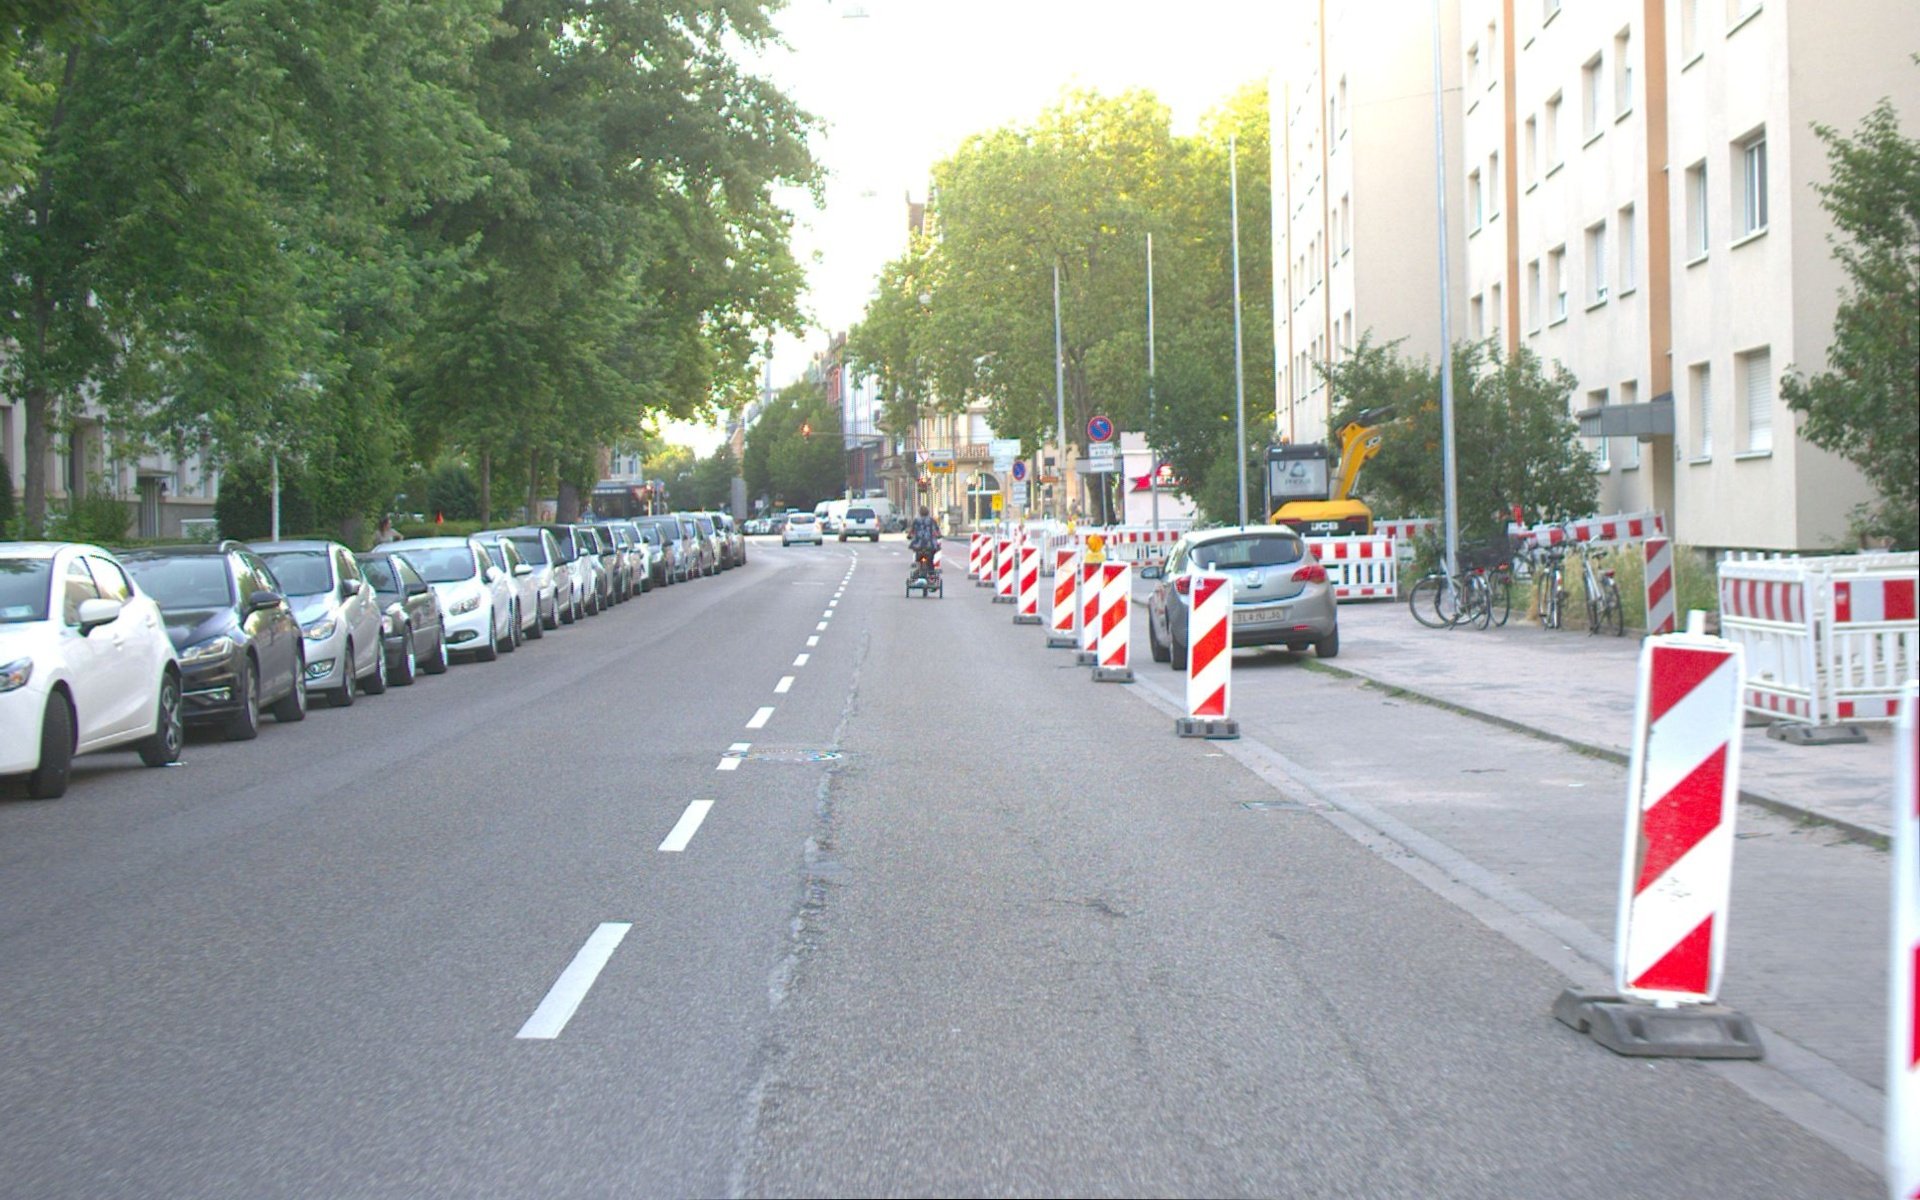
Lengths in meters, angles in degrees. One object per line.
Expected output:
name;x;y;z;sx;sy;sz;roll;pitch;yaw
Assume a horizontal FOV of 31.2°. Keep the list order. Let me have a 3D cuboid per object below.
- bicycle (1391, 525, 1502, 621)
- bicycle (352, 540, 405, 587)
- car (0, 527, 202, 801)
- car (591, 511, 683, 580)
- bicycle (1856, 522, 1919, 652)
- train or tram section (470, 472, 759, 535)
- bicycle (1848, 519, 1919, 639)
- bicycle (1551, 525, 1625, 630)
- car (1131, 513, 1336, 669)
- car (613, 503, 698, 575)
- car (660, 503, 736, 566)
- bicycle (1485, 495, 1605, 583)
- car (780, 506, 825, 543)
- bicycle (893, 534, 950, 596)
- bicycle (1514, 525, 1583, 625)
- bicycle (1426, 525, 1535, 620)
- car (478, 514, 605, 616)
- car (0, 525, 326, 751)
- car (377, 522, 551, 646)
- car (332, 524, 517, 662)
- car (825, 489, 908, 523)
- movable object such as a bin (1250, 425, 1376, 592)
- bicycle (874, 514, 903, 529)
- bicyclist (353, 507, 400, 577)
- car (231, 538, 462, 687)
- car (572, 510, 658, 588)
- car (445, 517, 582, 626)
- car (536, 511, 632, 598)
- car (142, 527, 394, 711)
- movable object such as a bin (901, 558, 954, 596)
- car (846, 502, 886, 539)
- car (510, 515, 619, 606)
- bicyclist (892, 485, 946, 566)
bicycle;6.052;-0.354;42.876;0.556;1.168;1.817;-1;1;-21
bicycle;-11.674;-0.734;69.054;0.808;0.908;1.762;0;1;-2
car;-5.965;0.363;20.861;1.752;1.474;3.944;-4;1;0
car;-7.419;-1.272;79.198;1.707;1.447;3.843;-4;1;-1
bicycle;8.397;-0.174;28.289;1.811;1.019;0.558;-6;1;0
train or tram section;-21.261;-5.931;211.558;17.020;3.612;5.041;0;1;17
bicycle;8.730;-0.245;30.029;1.753;0.983;0.557;-6;1;8
bicycle;7.169;-0.270;39.319;0.556;1.168;1.817;0;1;1
car;2.948;-0.147;37.950;1.776;1.485;4.574;-5;1;0
car;-7.377;-1.499;83.613;1.707;1.595;4.117;-4;1;-1
car;-7.670;-1.933;101.128;1.953;1.713;4.772;-3;2;-2
bicycle;8.248;-0.862;48.511;1.592;1.217;0.485;-1;1;-7
car;-7.168;-3.448;156.856;1.866;1.580;4.000;-2;1;-1
bicycle;-0.789;-0.713;69.542;0.939;1.168;2.359;-3;1;-4
bicycle;7.074;-0.312;41.366;0.556;1.168;1.817;0;1;1
bicycle;6.559;-0.358;43.386;0.626;1.168;1.817;-1;1;-18
car;-6.833;-0.600;56.402;1.590;1.524;2.921;-4;1;1
car;-6.119;0.215;26.442;1.752;1.474;4.679;-4;1;-3
car;-6.528;-0.253;45.651;1.692;1.454;4.484;-4;1;-1
car;-6.341;-0.127;41.084;1.692;1.454;4.146;-4;1;-3
car;-6.367;-6.423;235.248;5.808;2.280;2.071;-2;2;-44
movable object such as a bin;5.829;-1.514;57.031;1.933;2.683;2.891;-1;1;3
bicycle;-4.780;-5.222;228.829;1.914;0.964;0.546;-1;1;-3
bicyclist;-11.719;-1.165;69.064;0.808;1.399;0.974;0;1;-1
car;-6.354;0.085;36.047;1.674;1.327;4.580;-4;1;-2
car;-7.477;-1.126;74.803;1.590;1.533;4.207;-4;1;-3
car;-6.741;-0.465;52.226;1.590;1.500;3.800;-4;1;-1
car;-7.111;-0.877;65.254;1.523;1.524;3.165;-4;1;-3
car;-6.220;0.123;31.253;1.674;1.454;3.706;-4;1;-4
movable object such as a bin;-0.638;-0.451;67.881;0.939;0.686;0.993;-3;1;-4
car;-4.732;-3.986;173.003;1.866;1.808;4.001;-2;1;-3
car;-6.983;-0.730;60.984;1.590;1.461;4.103;-4;1;-3
bicyclist;-0.832;-1.508;69.490;0.939;1.576;1.146;-3;1;-4
